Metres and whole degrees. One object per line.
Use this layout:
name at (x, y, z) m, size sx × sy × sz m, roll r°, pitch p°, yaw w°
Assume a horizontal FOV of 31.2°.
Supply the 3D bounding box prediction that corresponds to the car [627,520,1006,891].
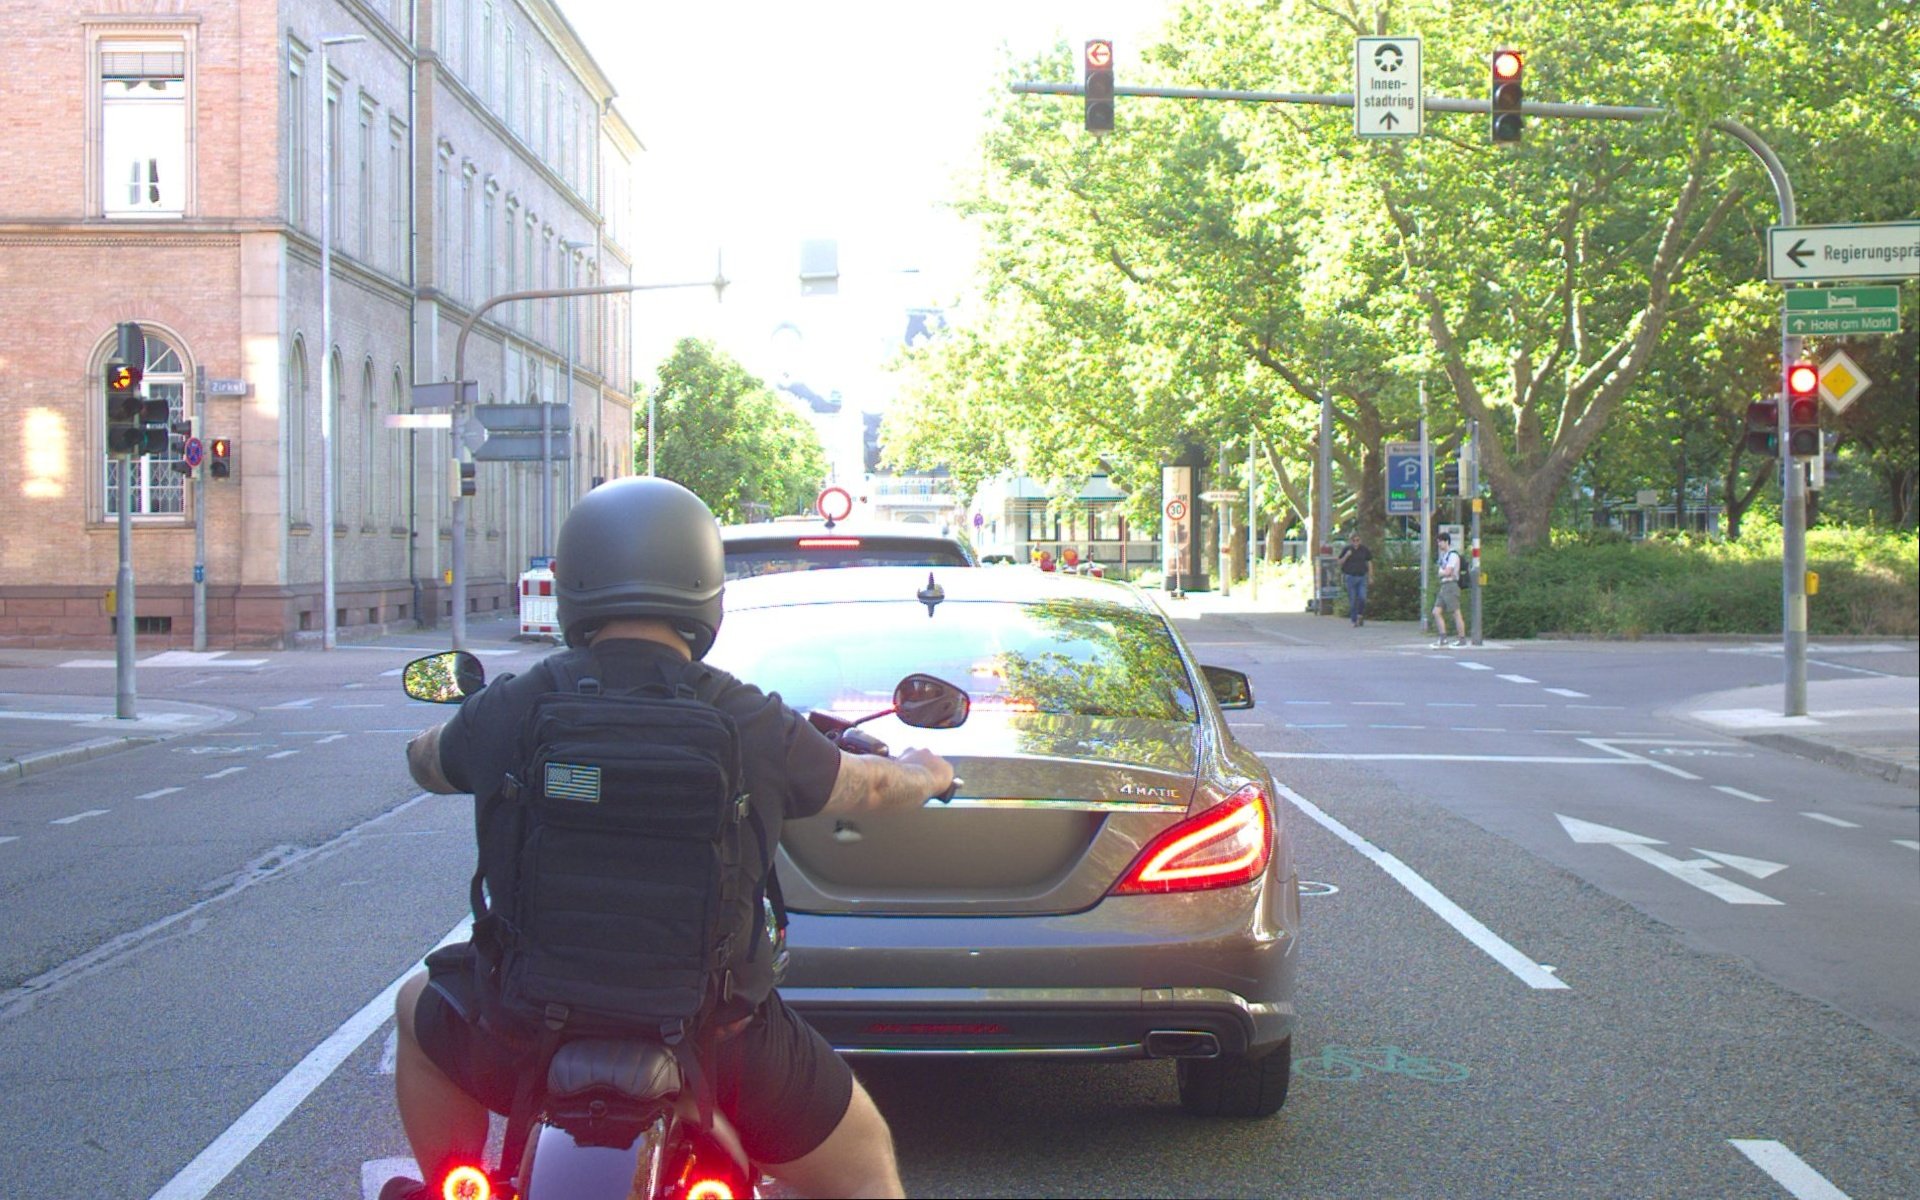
car at (-0.638, 0.415, 16.749) m, size 1.621 × 1.588 × 4.000 m, roll 0°, pitch 1°, yaw -1°

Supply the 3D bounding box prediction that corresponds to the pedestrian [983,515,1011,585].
pedestrian at (1.083, -1.458, 100.867) m, size 0.764 × 2.044 × 0.712 m, roll 1°, pitch 0°, yaw -1°

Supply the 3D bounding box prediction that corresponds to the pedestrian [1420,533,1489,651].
pedestrian at (7.707, -0.128, 53.637) m, size 1.002 × 1.820 × 1.076 m, roll 1°, pitch 0°, yaw 6°

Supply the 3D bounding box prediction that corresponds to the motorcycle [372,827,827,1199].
motorcycle at (-0.496, 0.932, 5.330) m, size 0.513 × 0.999 × 2.013 m, roll 1°, pitch 1°, yaw -1°

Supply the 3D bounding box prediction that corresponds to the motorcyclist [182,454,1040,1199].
motorcyclist at (-0.484, 0.601, 5.303) m, size 1.149 × 1.593 × 1.288 m, roll 1°, pitch 0°, yaw -1°

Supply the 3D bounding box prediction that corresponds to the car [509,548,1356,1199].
car at (-0.084, 0.600, 9.634) m, size 1.882 × 1.444 × 3.820 m, roll 1°, pitch 1°, yaw -1°

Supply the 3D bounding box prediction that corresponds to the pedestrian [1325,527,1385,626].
pedestrian at (7.671, -0.457, 66.798) m, size 0.749 × 1.903 × 0.926 m, roll 1°, pitch 0°, yaw -28°
